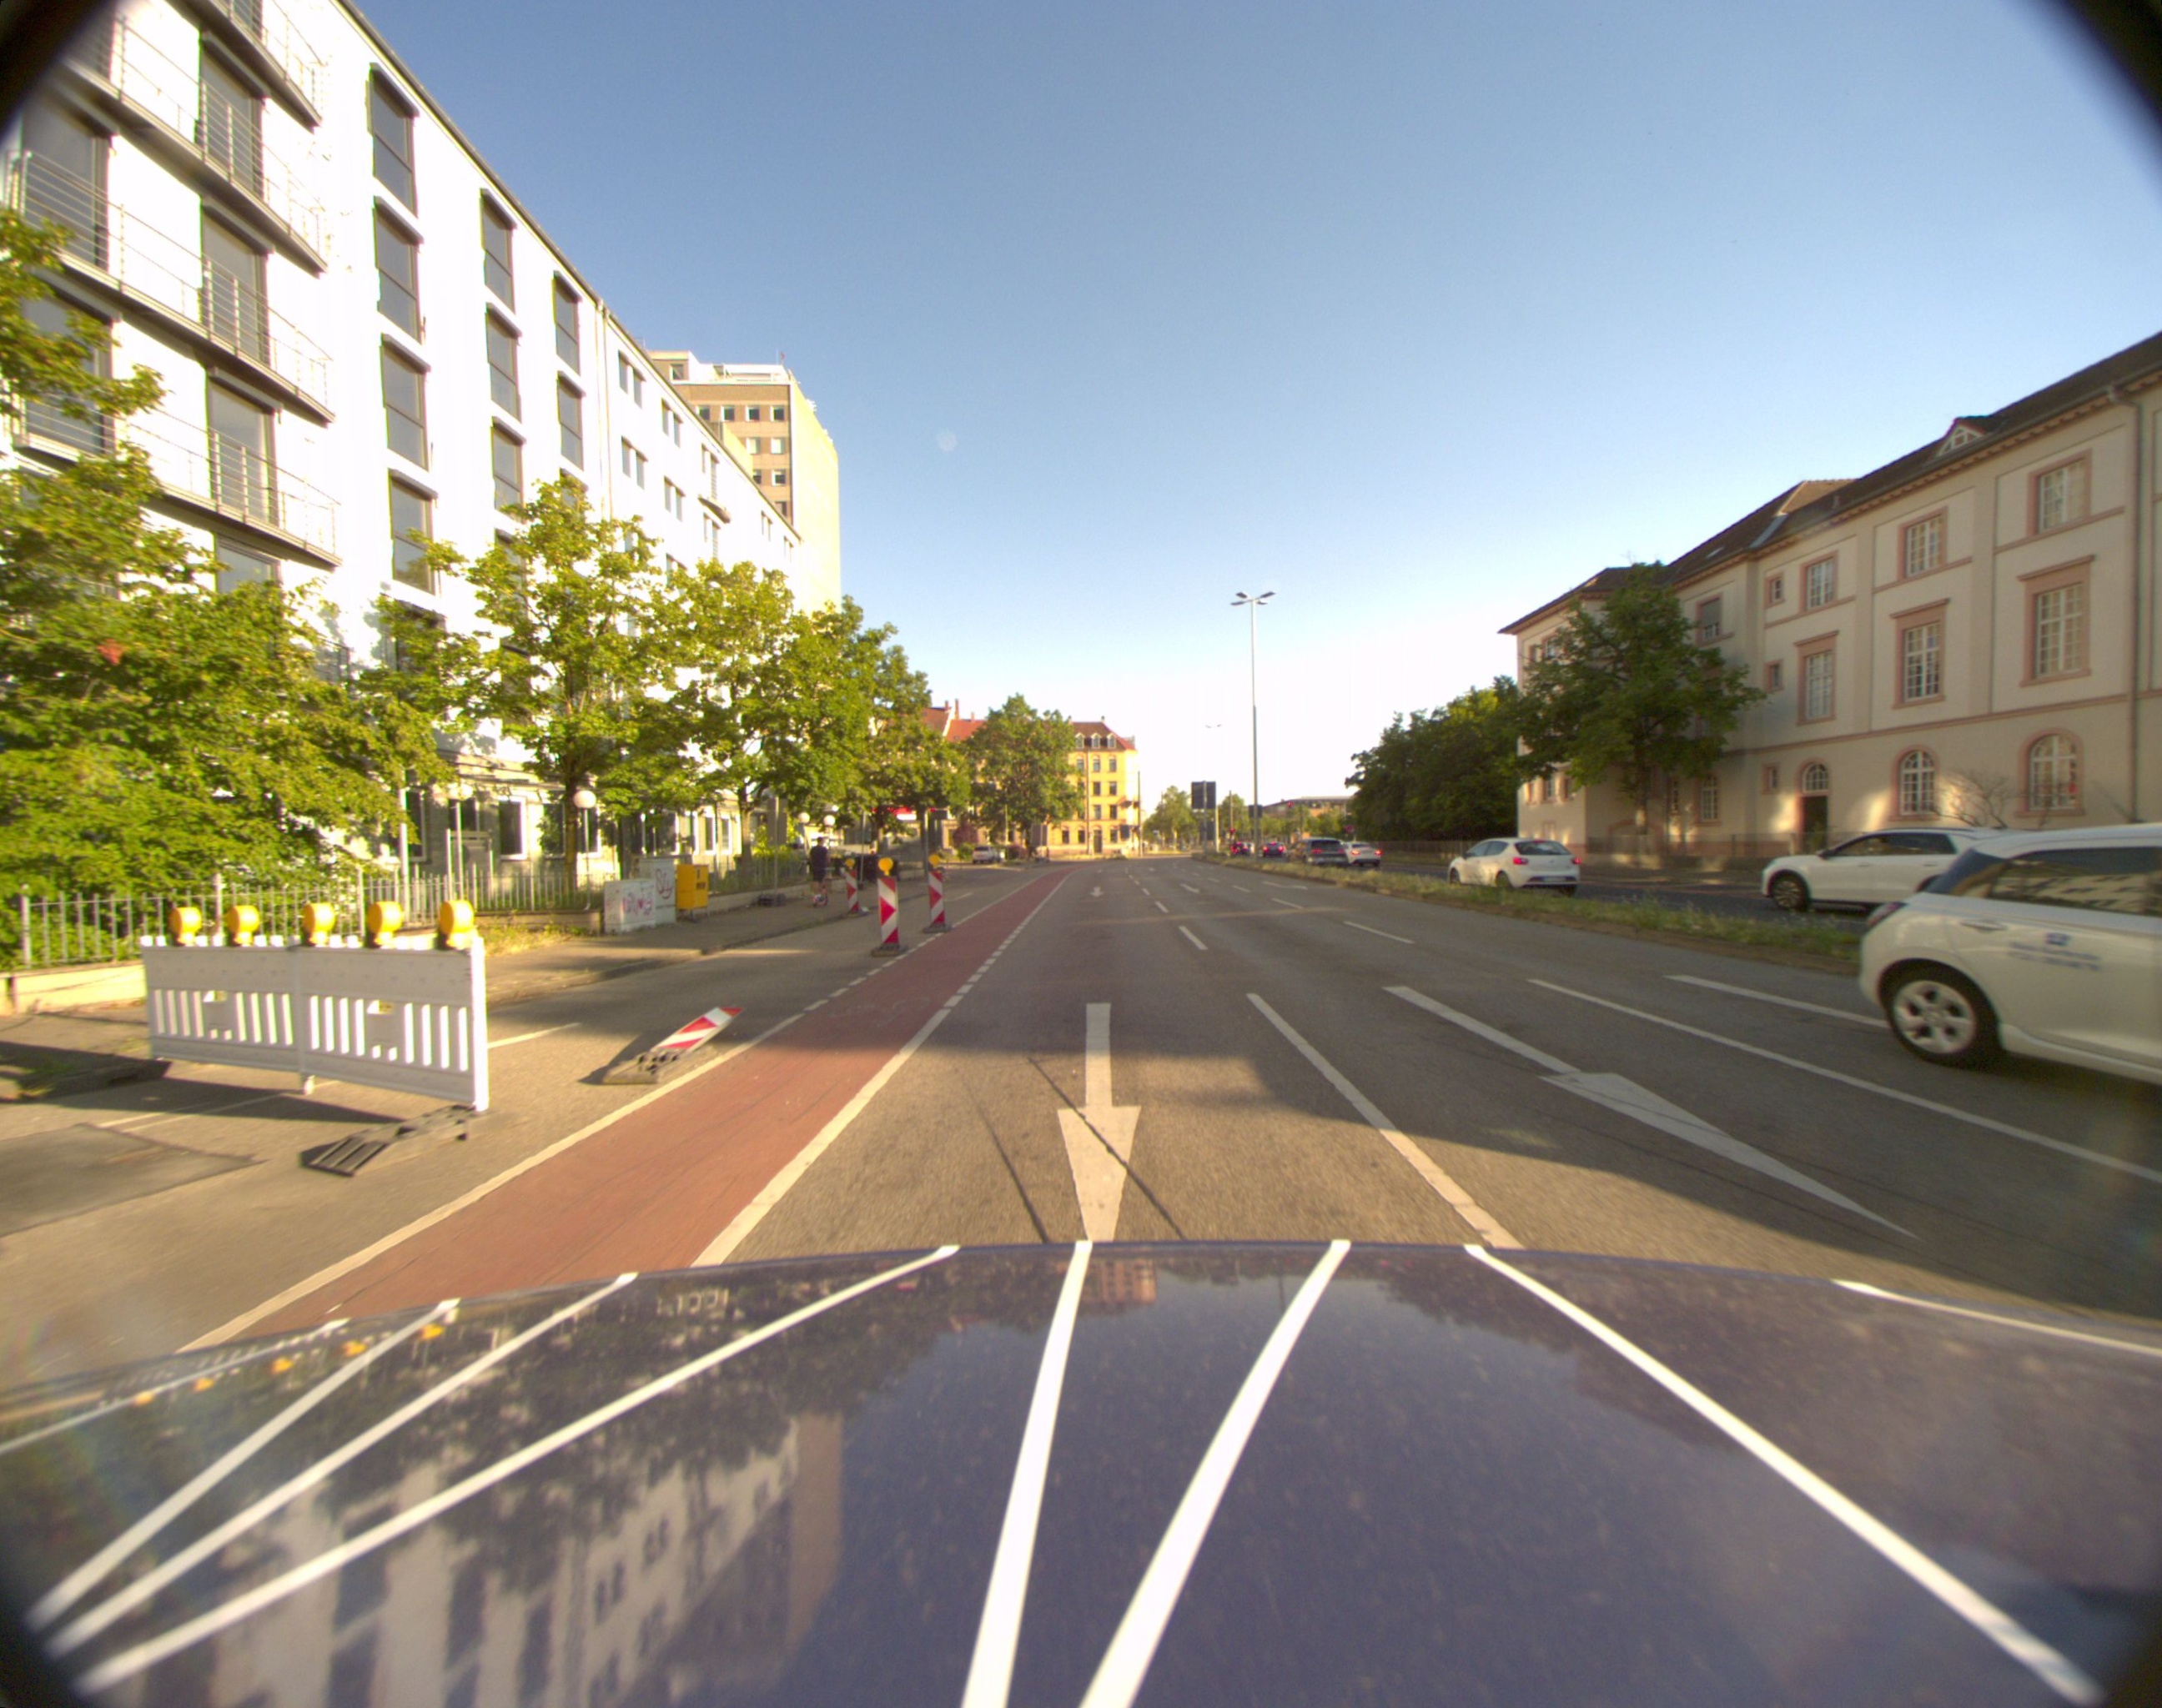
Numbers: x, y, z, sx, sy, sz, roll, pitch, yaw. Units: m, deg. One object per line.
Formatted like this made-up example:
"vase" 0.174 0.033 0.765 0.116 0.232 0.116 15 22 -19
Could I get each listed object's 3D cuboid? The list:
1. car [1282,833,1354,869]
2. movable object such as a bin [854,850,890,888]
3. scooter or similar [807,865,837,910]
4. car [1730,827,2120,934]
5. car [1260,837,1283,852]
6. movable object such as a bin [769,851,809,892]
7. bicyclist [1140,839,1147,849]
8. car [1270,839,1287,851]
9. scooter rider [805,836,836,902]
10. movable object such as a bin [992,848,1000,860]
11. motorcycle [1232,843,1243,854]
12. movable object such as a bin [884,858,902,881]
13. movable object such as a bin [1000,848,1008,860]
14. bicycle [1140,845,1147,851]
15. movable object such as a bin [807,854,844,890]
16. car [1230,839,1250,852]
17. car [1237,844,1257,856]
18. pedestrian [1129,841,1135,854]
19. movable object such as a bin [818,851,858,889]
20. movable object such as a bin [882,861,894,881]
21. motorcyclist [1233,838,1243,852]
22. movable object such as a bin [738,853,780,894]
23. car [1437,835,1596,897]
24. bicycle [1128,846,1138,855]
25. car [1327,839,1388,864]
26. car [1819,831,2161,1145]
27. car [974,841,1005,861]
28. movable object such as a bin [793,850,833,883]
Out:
"car" 11.399 -0.182 36.933 1.998 1.569 4.898 -1 1 0
"movable object such as a bin" -8.868 0.620 32.293 1.095 1.500 1.253 -1 4 1
"scooter or similar" -7.223 0.911 21.206 0.331 1.188 1.250 -1 1 2
"car" 13.970 0.355 13.097 1.689 1.490 4.513 -1 1 -1
"car" 18.951 -0.955 75.707 1.997 1.487 5.296 -1 1 12
"movable object such as a bin" -10.953 0.660 28.541 1.106 1.476 0.956 -1 1 0
"bicyclist" 11.152 -1.772 135.912 1.071 1.831 1.303 -1 1 3
"car" 21.612 -0.974 82.934 1.721 1.312 3.898 -1 1 16
"scooter rider" -7.251 0.410 21.138 0.616 1.779 0.487 -1 2 3
"movable object such as a bin" -7.535 0.015 67.620 0.573 1.023 0.674 -1 1 5
"motorcycle" 15.863 -0.596 76.903 0.859 1.101 2.473 -1 1 18
"movable object such as a bin" -8.706 0.714 35.175 0.620 1.040 0.616 -1 1 3
"movable object such as a bin" -6.875 0.005 67.801 0.573 1.023 0.674 -1 1 5
"bicycle" 11.186 -1.040 135.922 1.071 1.018 2.975 -1 1 3
"movable object such as a bin" -9.698 0.668 28.918 1.218 1.336 1.054 -1 1 -14
"car" 17.010 -0.950 81.168 1.721 1.289 4.382 -1 1 18
"car" 19.077 -0.468 87.180 1.720 1.289 4.254 -1 1 19
"pedestrian" 6.444 -0.762 95.386 0.488 1.622 0.526 0 2 36
"movable object such as a bin" -9.797 0.620 30.730 1.330 1.476 1.209 -1 1 -9
"movable object such as a bin" -8.789 0.765 34.579 0.393 0.902 0.490 -1 1 2
"motorcyclist" 15.853 -0.871 76.818 0.852 1.390 1.063 -1 1 18
"movable object such as a bin" -12.109 0.714 28.575 1.129 1.476 0.956 -1 1 1
"car" 10.879 0.250 19.345 1.689 1.384 4.180 -1 1 1
"bicycle" 6.546 -0.442 95.340 0.398 1.023 1.675 0 1 36
"car" 15.927 -0.175 44.013 1.998 1.405 4.443 0 1 2
"car" 5.910 0.628 3.257 1.689 1.448 4.000 -2 1 2
"car" -7.599 -0.243 63.456 1.622 1.585 3.895 -1 1 8
"movable object such as a bin" -11.603 0.525 32.926 1.198 1.413 1.279 0 0 3
